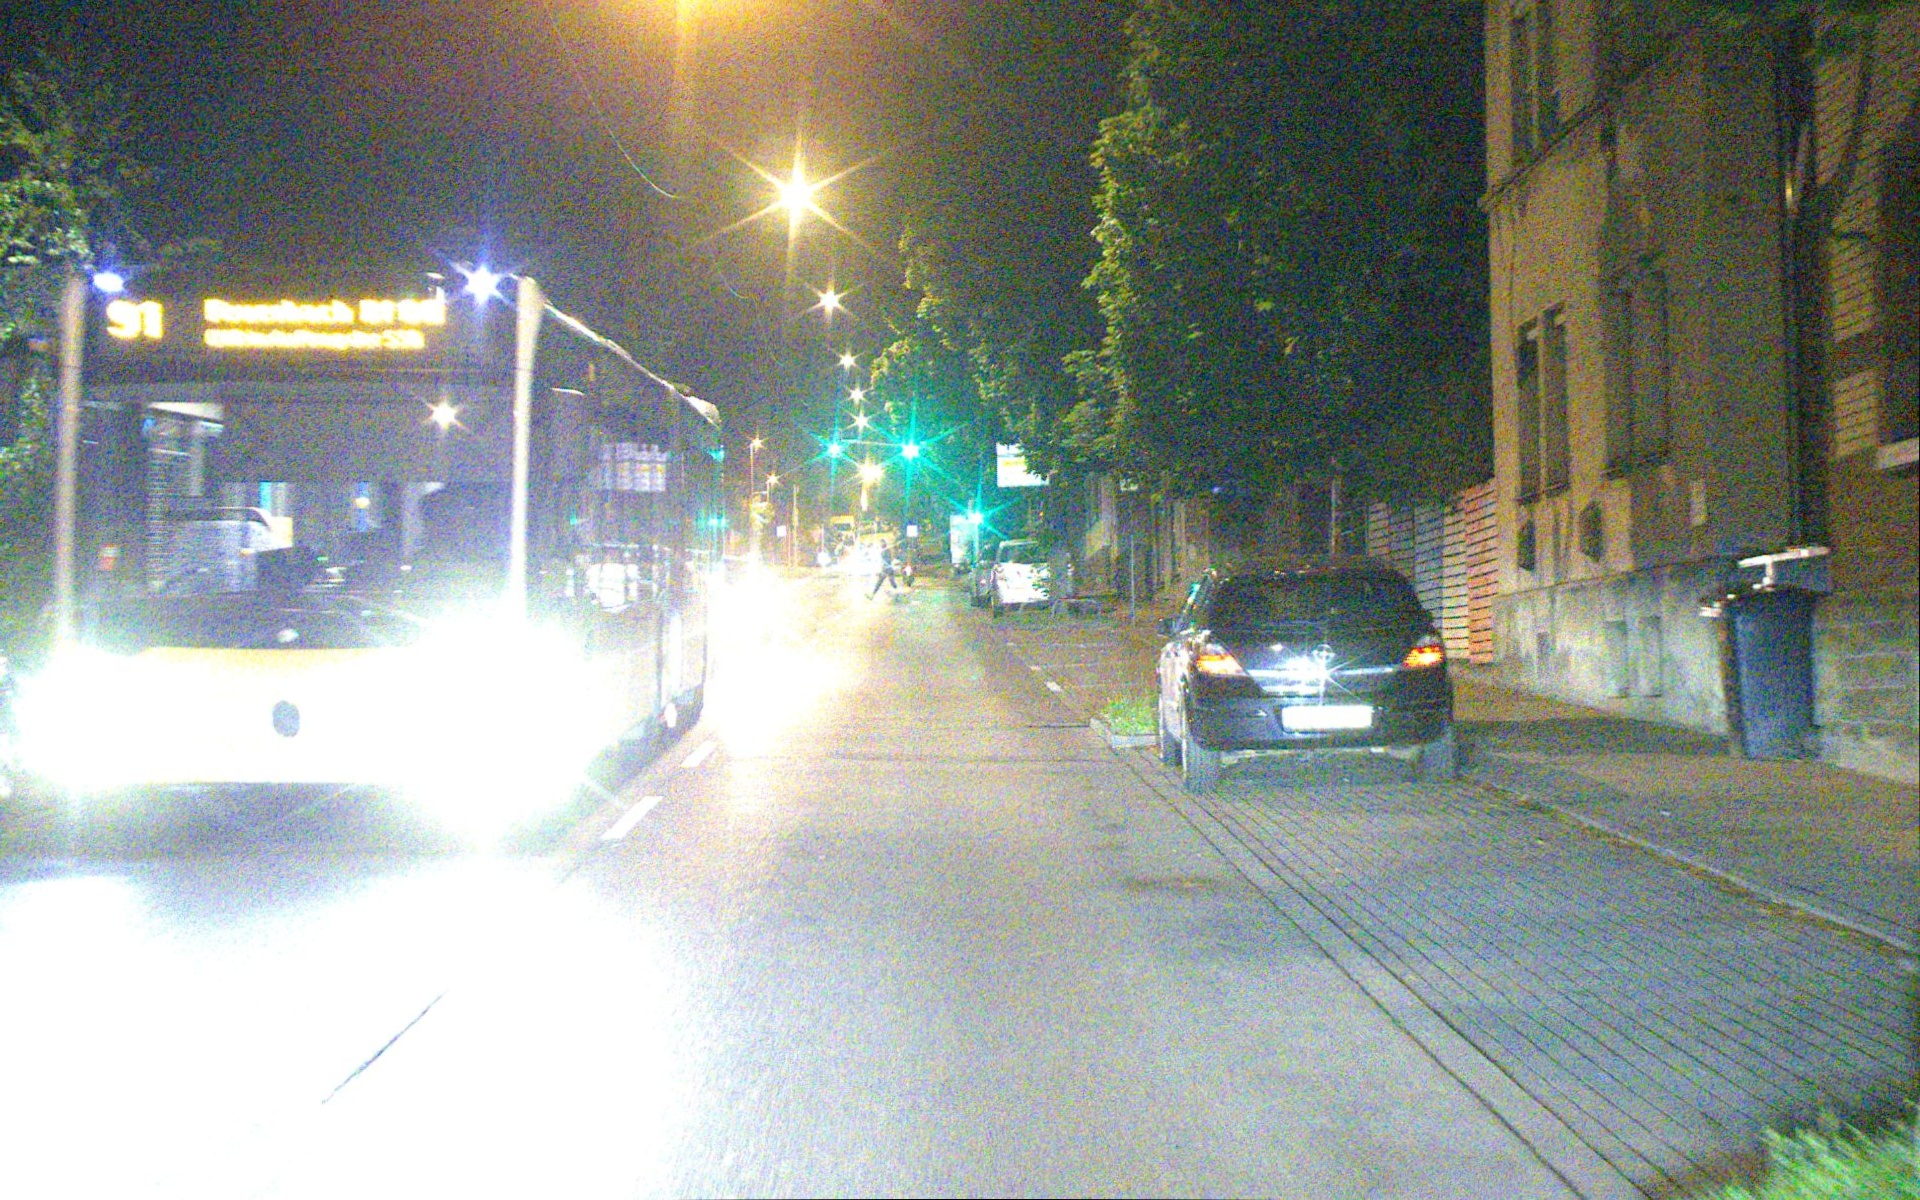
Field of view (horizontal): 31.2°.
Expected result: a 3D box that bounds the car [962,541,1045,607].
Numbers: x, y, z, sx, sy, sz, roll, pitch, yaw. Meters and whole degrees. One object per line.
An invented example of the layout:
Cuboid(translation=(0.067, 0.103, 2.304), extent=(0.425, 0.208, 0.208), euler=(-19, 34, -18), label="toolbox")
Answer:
Cuboid(translation=(1.055, -0.663, 84.999), extent=(1.868, 1.521, 4.150), euler=(-2, 1, -1), label="car")

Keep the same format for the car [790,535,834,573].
Cuboid(translation=(-6.988, -2.161, 162.932), extent=(1.944, 1.711, 4.000), euler=(0, 0, -1), label="car")

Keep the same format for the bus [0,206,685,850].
Cuboid(translation=(-3.541, -0.442, 22.246), extent=(2.837, 3.166, 10.499), euler=(0, 1, -1), label="bus")

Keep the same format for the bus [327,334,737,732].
Cuboid(translation=(-3.673, -0.598, 31.342), extent=(2.837, 3.166, 7.661), euler=(0, 1, -1), label="bus")

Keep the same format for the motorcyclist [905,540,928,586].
Cuboid(translation=(-1.648, -1.413, 130.701), extent=(0.848, 1.746, 0.805), euler=(0, 0, -1), label="motorcyclist")

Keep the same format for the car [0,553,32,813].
Cuboid(translation=(-6.350, 0.481, 19.042), extent=(1.638, 1.493, 2.765), euler=(0, 0, 1), label="car")

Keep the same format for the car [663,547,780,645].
Cuboid(translation=(-3.694, -0.091, 53.715), extent=(1.645, 1.417, 3.871), euler=(-2, 1, -2), label="car")

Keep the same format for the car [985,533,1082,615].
Cuboid(translation=(1.499, -0.566, 71.509), extent=(1.812, 1.588, 4.274), euler=(-2, 1, -1), label="car")

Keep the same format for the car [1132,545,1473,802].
Cuboid(translation=(2.176, 0.411, 22.835), extent=(1.763, 1.471, 4.080), euler=(-2, 1, -1), label="car")

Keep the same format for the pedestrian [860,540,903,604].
Cuboid(translation=(-2.152, -0.775, 93.967), extent=(0.923, 1.694, 0.767), euler=(2, 1, -18), label="pedestrian")

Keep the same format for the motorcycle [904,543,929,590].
Cuboid(translation=(-1.644, -1.257, 130.557), extent=(0.931, 1.746, 2.625), euler=(0, 0, -1), label="motorcycle")

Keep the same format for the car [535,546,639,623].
Cuboid(translation=(-7.306, -0.326, 67.683), extent=(1.721, 1.432, 4.811), euler=(-1, 1, -3), label="car")
